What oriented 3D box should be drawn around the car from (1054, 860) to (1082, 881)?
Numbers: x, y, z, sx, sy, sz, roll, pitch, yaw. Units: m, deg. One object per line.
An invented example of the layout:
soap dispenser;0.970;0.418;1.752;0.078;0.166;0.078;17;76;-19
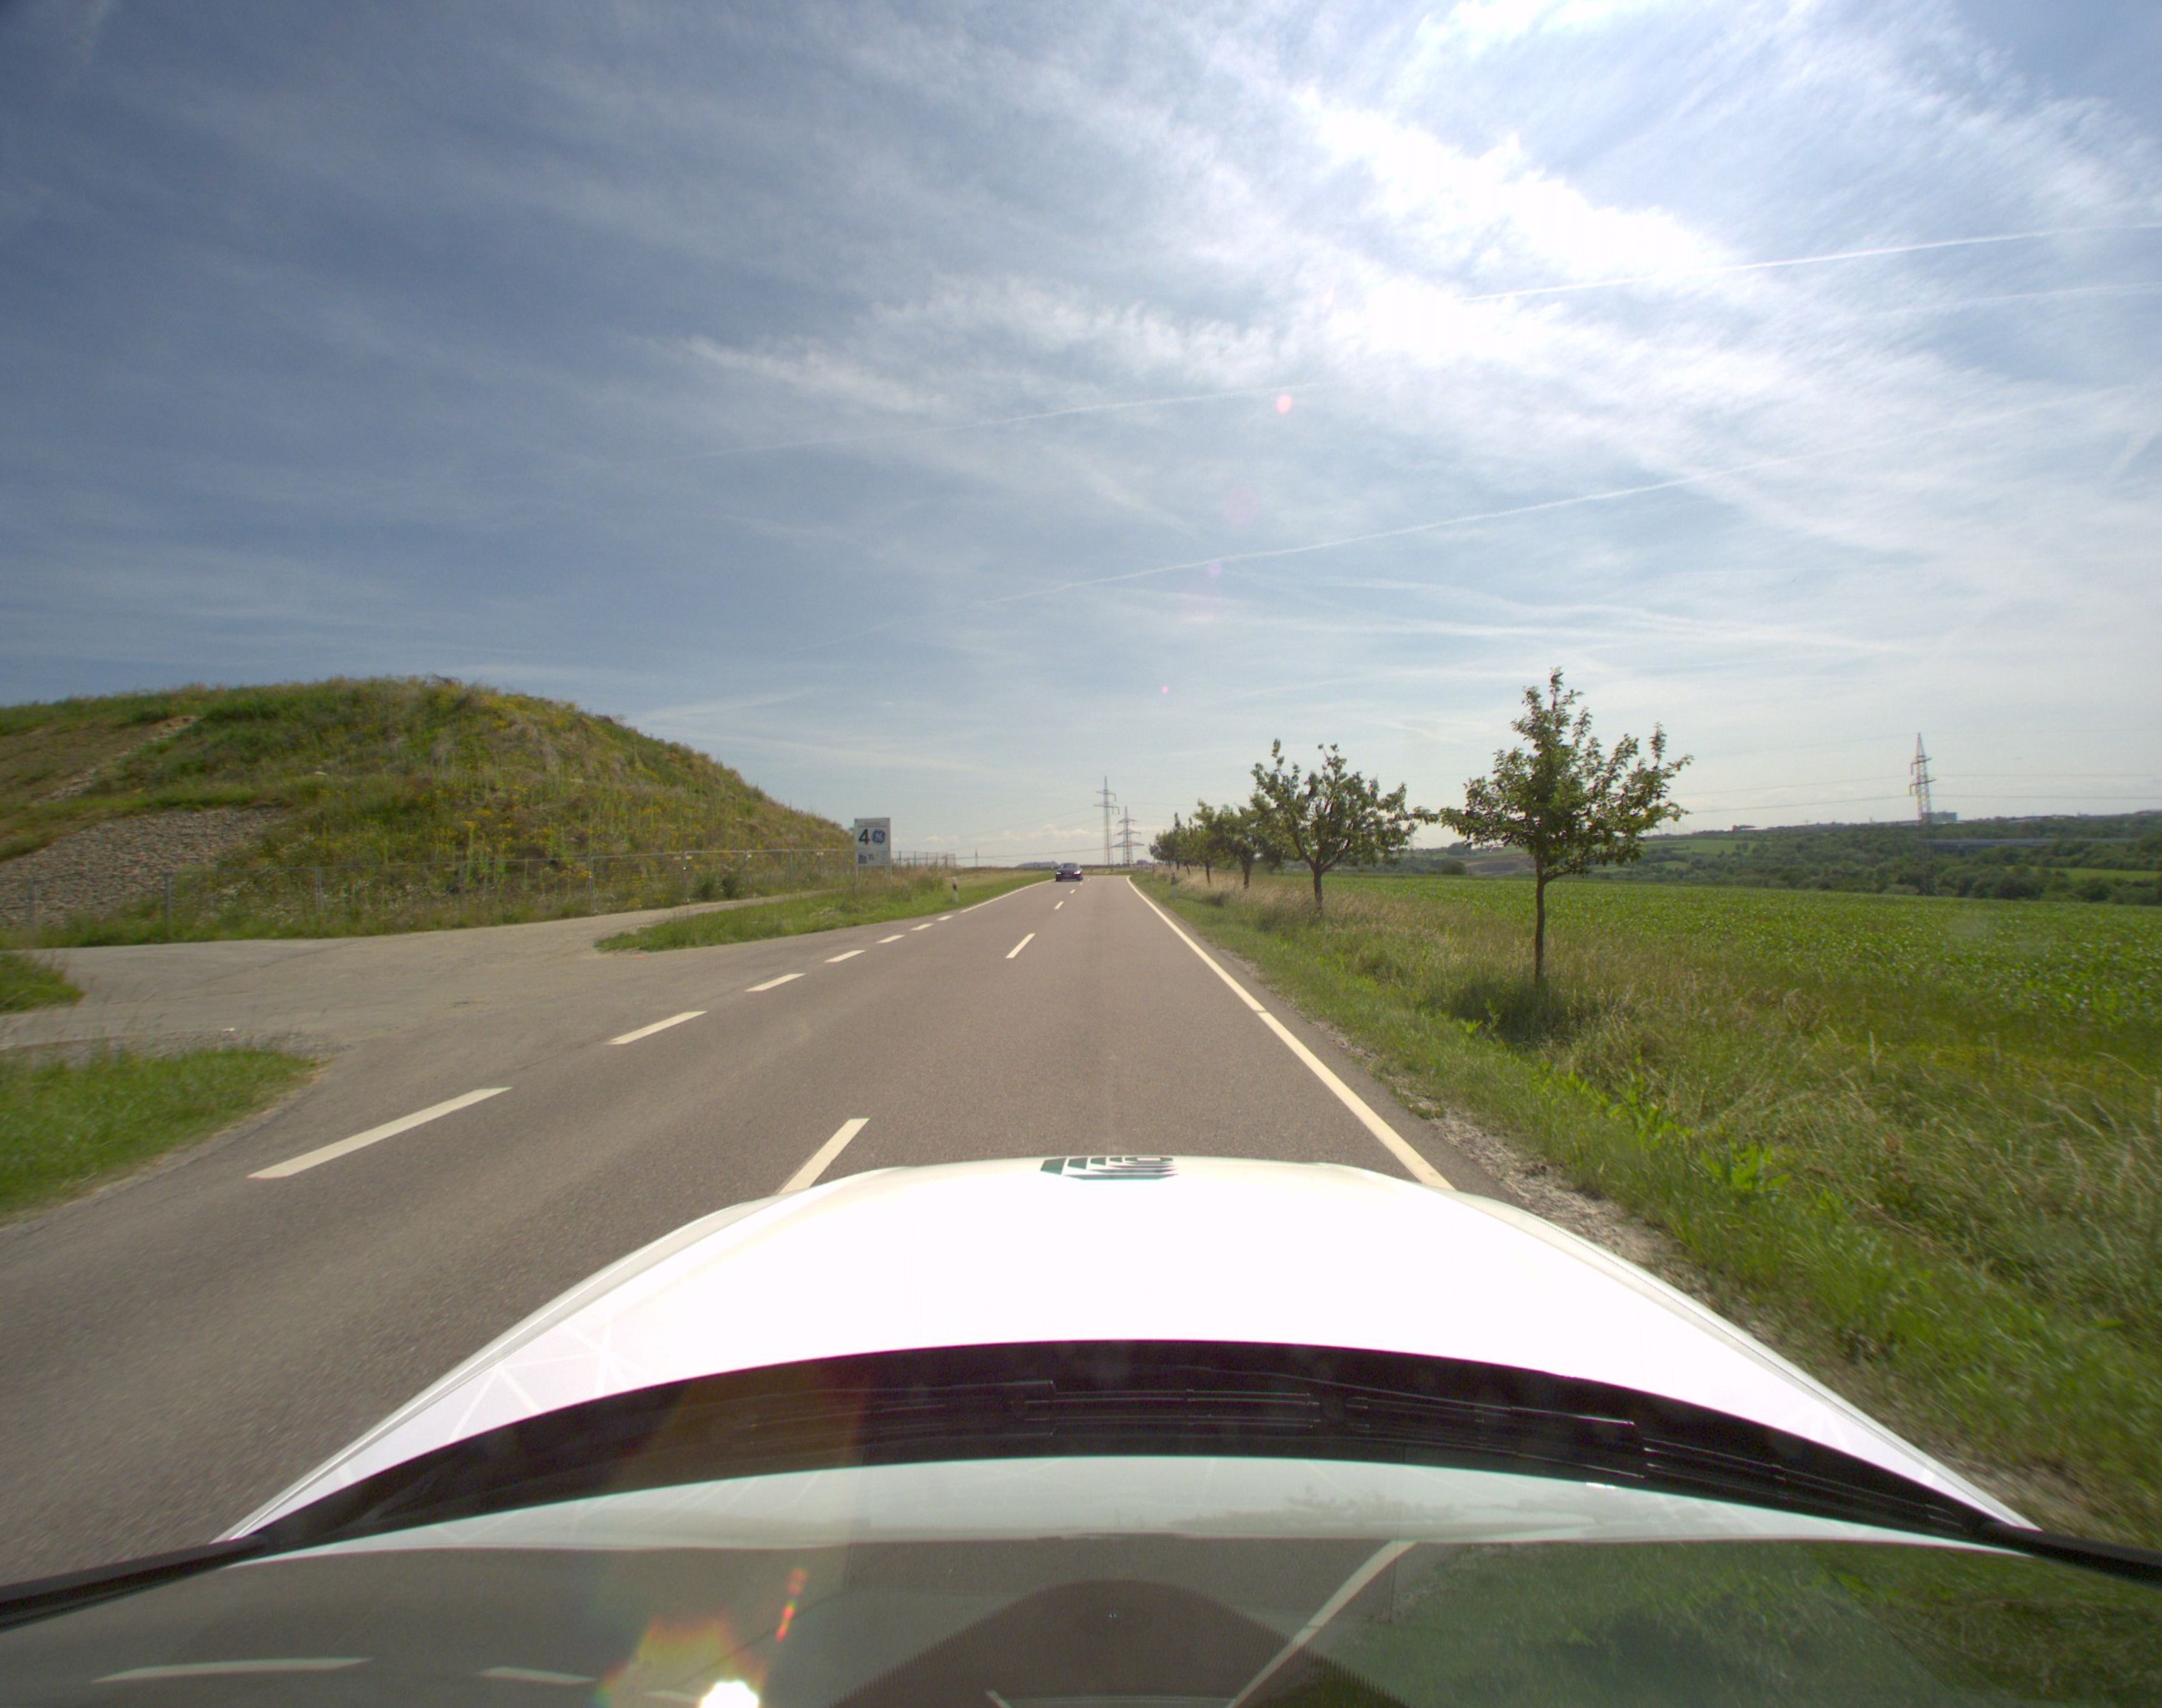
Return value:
car;-0.935;1.208;59.837;1.816;1.410;4.002;-2;0;2
